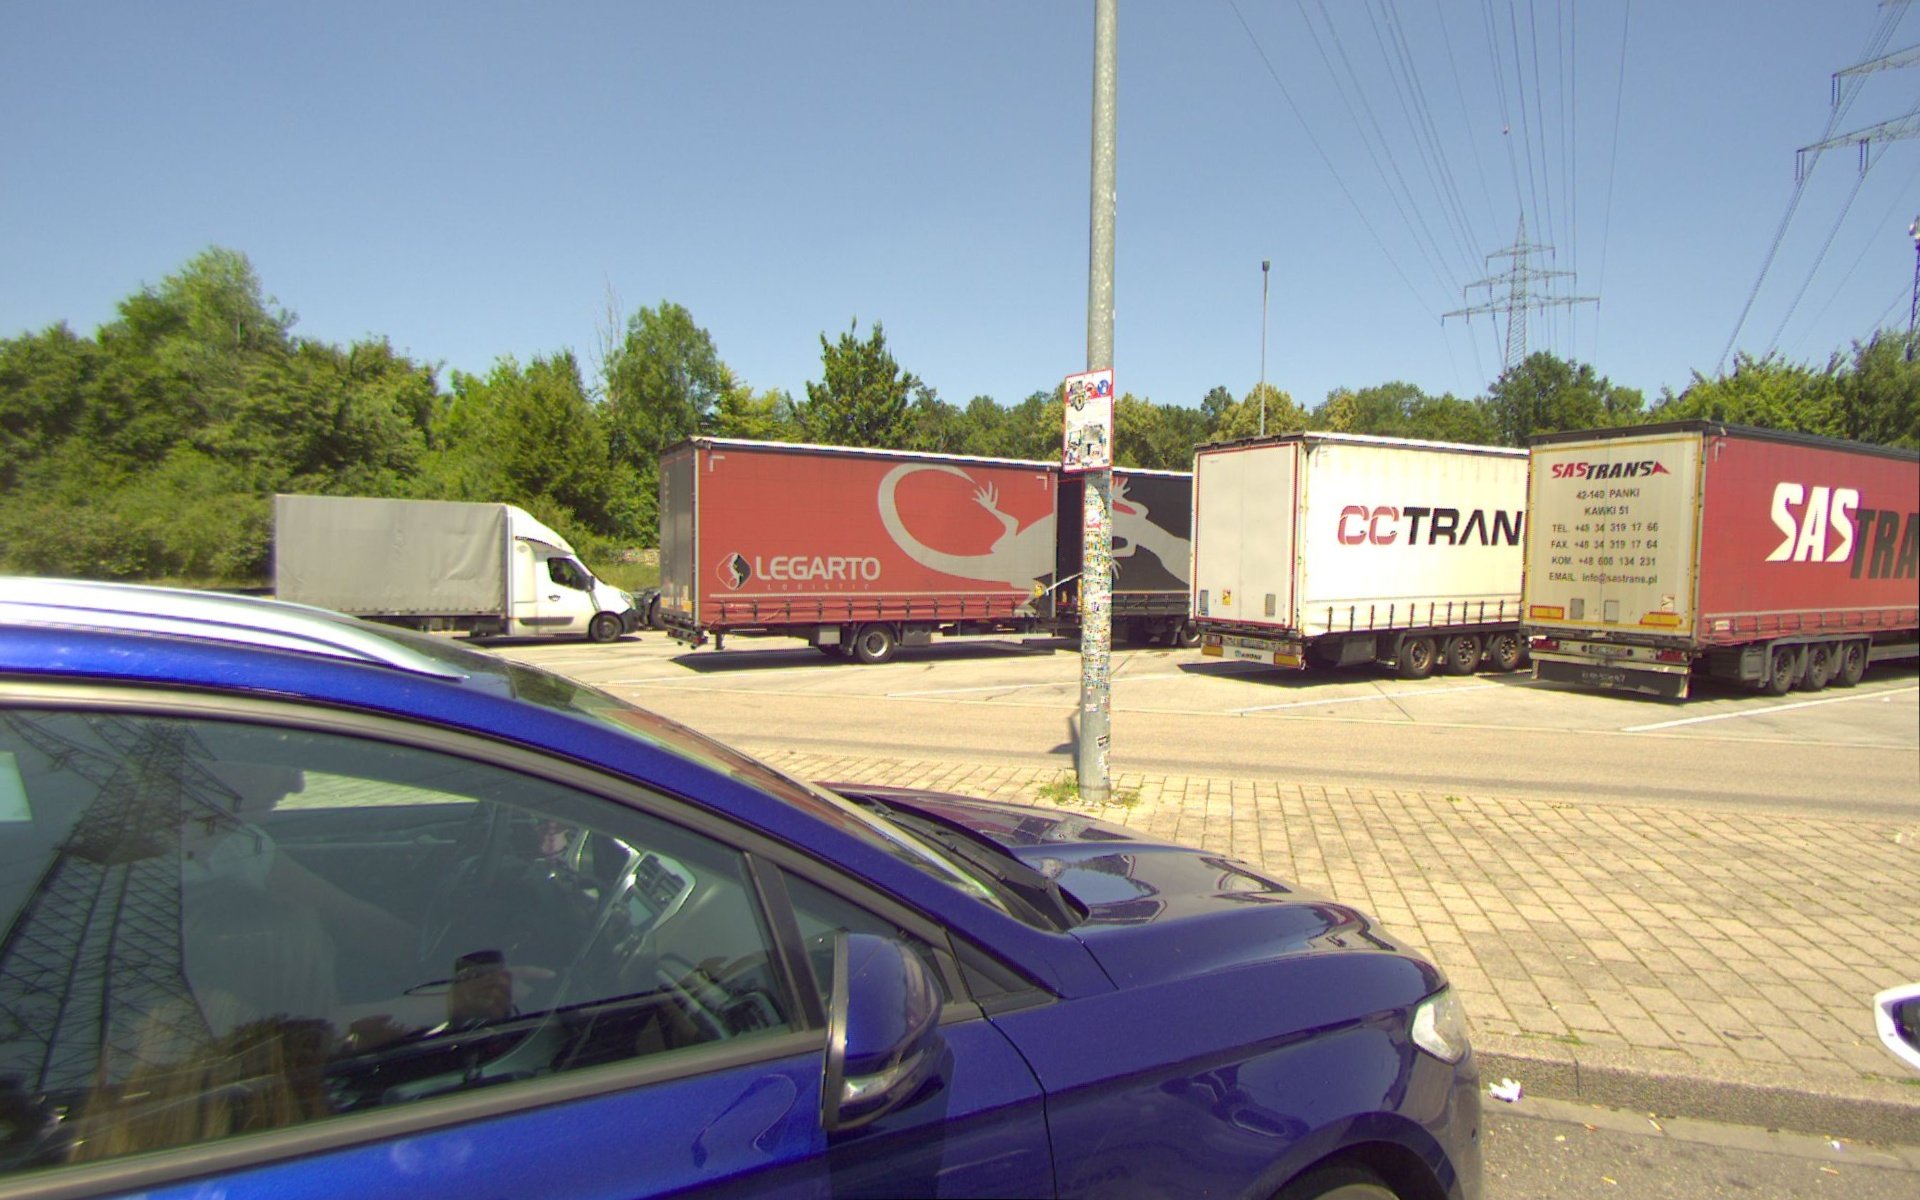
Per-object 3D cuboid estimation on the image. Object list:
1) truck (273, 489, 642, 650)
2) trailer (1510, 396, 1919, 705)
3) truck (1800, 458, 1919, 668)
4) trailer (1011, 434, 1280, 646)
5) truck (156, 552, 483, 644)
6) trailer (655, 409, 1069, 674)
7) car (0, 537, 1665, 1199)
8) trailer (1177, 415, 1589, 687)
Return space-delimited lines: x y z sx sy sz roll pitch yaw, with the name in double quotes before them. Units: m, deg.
"truck" -11.129 -0.594 22.778 7.171 3.194 2.160 0 1 -30
"trailer" 15.274 -0.651 18.437 13.046 4.276 2.786 0 0 -31
"truck" 21.458 -0.729 22.071 5.824 4.189 2.792 0 0 -30
"trailer" 4.482 -1.266 24.052 6.076 4.505 2.665 0 1 -30
"truck" -15.412 -0.035 24.686 6.538 2.040 1.984 0 0 -30
"trailer" -1.806 -0.976 20.270 7.963 4.510 2.648 0 0 -31
"car" -1.011 0.670 1.502 4.362 1.437 1.731 1 0 -30
"trailer" 8.108 -0.759 18.828 8.189 4.208 2.741 0 1 -30
